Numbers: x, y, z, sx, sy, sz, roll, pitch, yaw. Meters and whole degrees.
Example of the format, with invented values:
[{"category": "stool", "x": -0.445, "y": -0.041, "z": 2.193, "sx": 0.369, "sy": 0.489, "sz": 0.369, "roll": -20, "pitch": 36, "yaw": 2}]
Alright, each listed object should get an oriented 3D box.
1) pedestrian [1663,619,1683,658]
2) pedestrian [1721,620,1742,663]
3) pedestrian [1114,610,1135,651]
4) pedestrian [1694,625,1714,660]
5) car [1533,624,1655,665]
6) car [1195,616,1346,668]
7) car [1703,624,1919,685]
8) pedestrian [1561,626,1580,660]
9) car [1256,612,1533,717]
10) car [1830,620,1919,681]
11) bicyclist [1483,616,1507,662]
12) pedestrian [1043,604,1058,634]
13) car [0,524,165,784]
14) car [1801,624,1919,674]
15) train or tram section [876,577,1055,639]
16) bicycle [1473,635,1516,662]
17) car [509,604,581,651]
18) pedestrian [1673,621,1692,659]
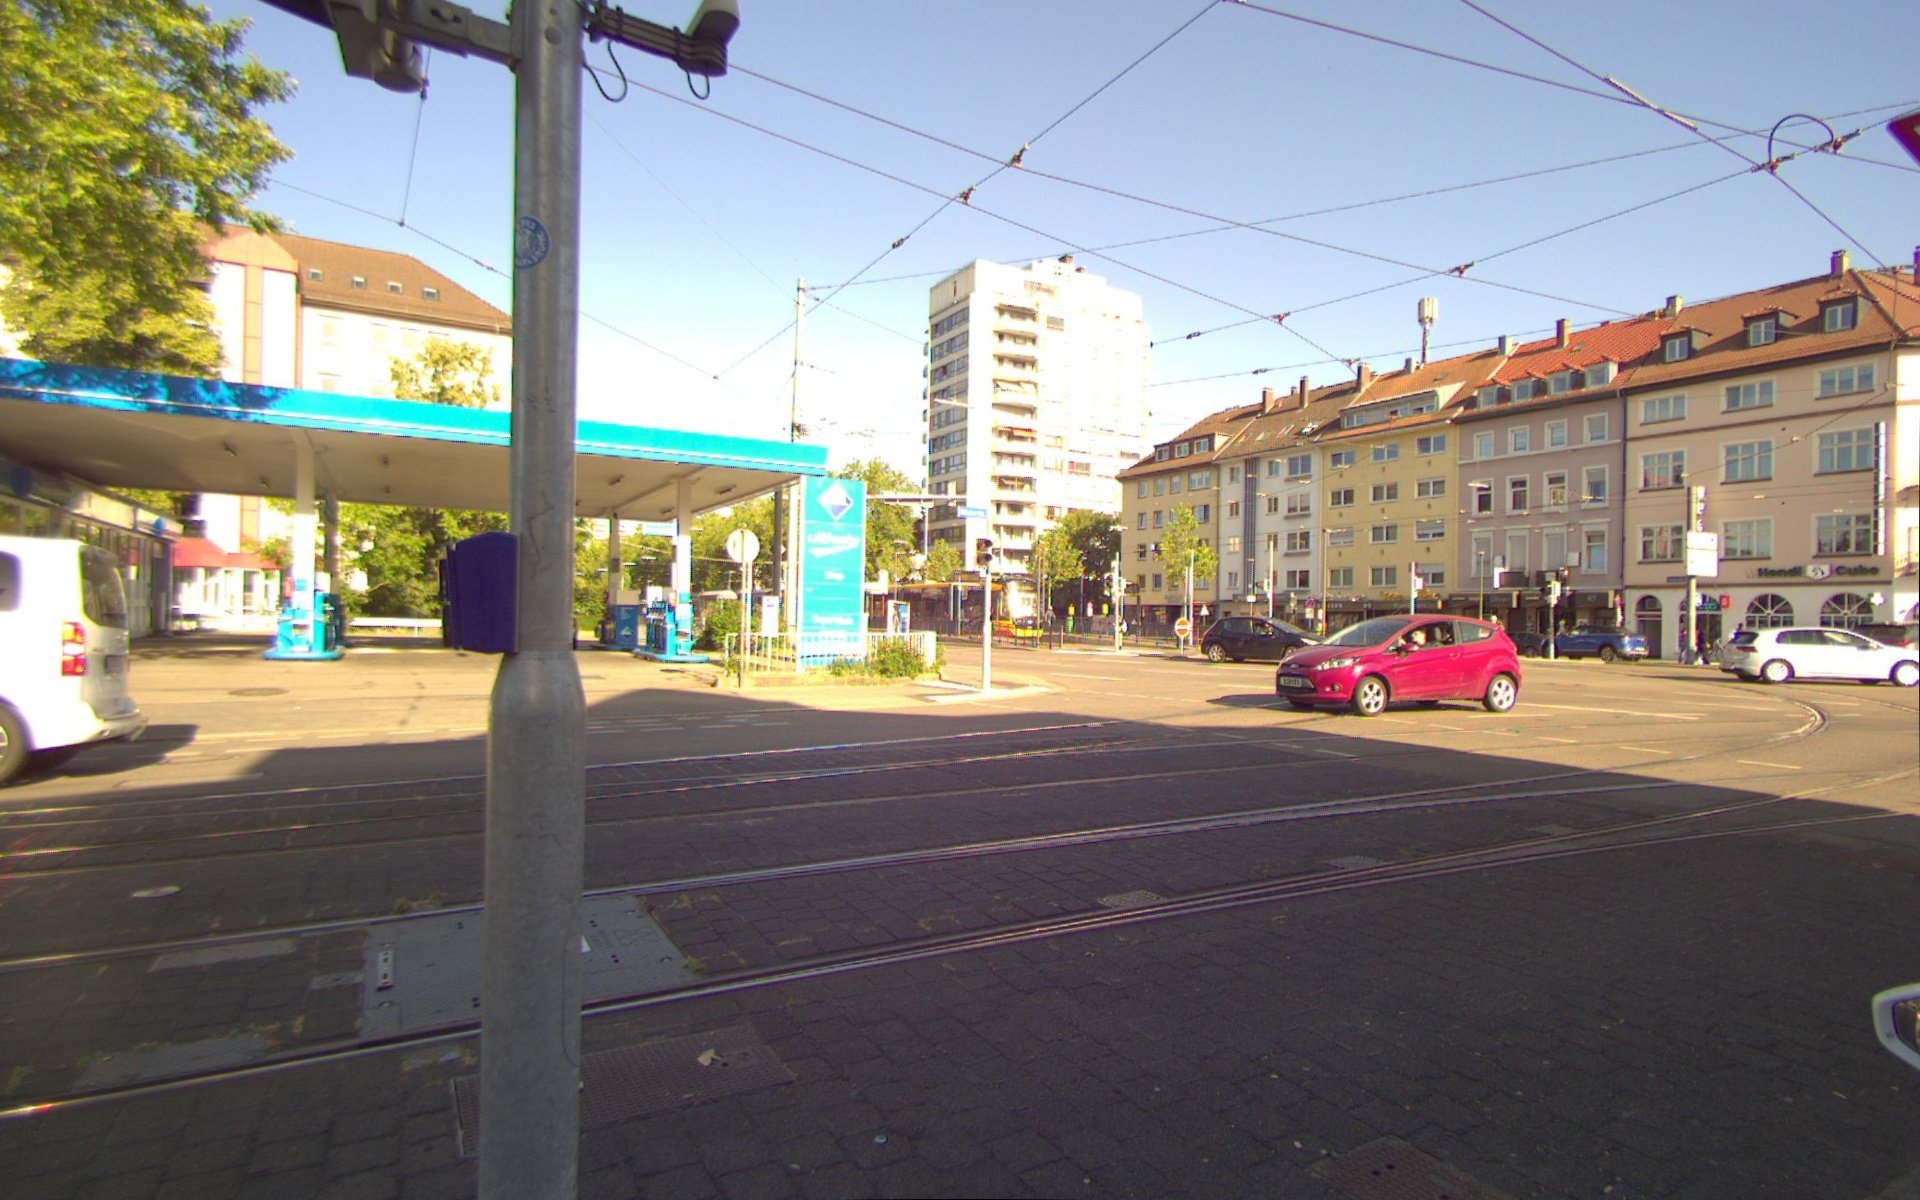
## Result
[{"category": "pedestrian", "x": 30.814, "y": 1.670, "z": 43.394, "sx": 0.492, "sy": 1.670, "sz": 0.520, "roll": 2, "pitch": 0, "yaw": -30}, {"category": "pedestrian", "x": 33.365, "y": 1.786, "z": 43.462, "sx": 0.670, "sy": 1.847, "sz": 0.523, "roll": 2, "pitch": 0, "yaw": -37}, {"category": "pedestrian", "x": 6.721, "y": 1.228, "z": 41.001, "sx": 0.750, "sy": 1.631, "sz": 0.613, "roll": 2, "pitch": 0, "yaw": 15}, {"category": "pedestrian", "x": 32.596, "y": 1.872, "z": 44.018, "sx": 0.550, "sy": 1.512, "sz": 0.489, "roll": 2, "pitch": 0, "yaw": -30}, {"category": "car", "x": 27.250, "y": 1.890, "z": 43.289, "sx": 1.805, "sy": 1.596, "sz": 4.175, "roll": 1, "pitch": 0, "yaw": -23}, {"category": "car", "x": 9.795, "y": 1.269, "z": 31.837, "sx": 4.150, "sy": 1.537, "sz": 1.989, "roll": -1, "pitch": -1, "yaw": 43}, {"category": "car", "x": 21.586, "y": 1.341, "z": 25.402, "sx": 4.145, "sy": 1.408, "sz": 1.735, "roll": 0, "pitch": -1, "yaw": 20}, {"category": "pedestrian", "x": 31.021, "y": 2.193, "z": 51.016, "sx": 0.609, "sy": 1.670, "sz": 0.581, "roll": 2, "pitch": 0, "yaw": -30}, {"category": "car", "x": 6.652, "y": 0.936, "z": 15.421, "sx": 3.820, "sy": 1.445, "sz": 1.589, "roll": 1, "pitch": 0, "yaw": -18}, {"category": "car", "x": 27.221, "y": 1.412, "z": 28.470, "sx": 4.383, "sy": 1.623, "sz": 1.867, "roll": 1, "pitch": -1, "yaw": -18}, {"category": "bicyclist", "x": 21.878, "y": 1.589, "z": 41.082, "sx": 0.606, "sy": 1.814, "sz": 0.619, "roll": 2, "pitch": 0, "yaw": -25}, {"category": "pedestrian", "x": 6.646, "y": 1.387, "z": 73.844, "sx": 0.729, "sy": 2.127, "sz": 0.880, "roll": 2, "pitch": 0, "yaw": -21}, {"category": "car", "x": -9.100, "y": 0.402, "z": 7.111, "sx": 5.157, "sy": 1.878, "sz": 1.984, "roll": 1, "pitch": -4, "yaw": -31}, {"category": "car", "x": 31.134, "y": 1.628, "z": 34.442, "sx": 1.754, "sy": 1.524, "sz": 3.922, "roll": 0, "pitch": 0, "yaw": 9}, {"category": "train or tram section", "x": -0.267, "y": 0.336, "z": 59.721, "sx": 2.821, "sy": 3.179, "sz": 16.611, "roll": 2, "pitch": 0, "yaw": -29}, {"category": "bicycle", "x": 21.848, "y": 1.987, "z": 41.073, "sx": 1.731, "sy": 1.044, "sz": 0.619, "roll": 2, "pitch": 0, "yaw": -25}, {"category": "car", "x": -13.519, "y": 0.857, "z": 32.646, "sx": 1.659, "sy": 1.372, "sz": 3.559, "roll": 2, "pitch": 0, "yaw": -31}, {"category": "pedestrian", "x": 32.422, "y": 1.794, "z": 45.076, "sx": 0.492, "sy": 1.670, "sz": 0.520, "roll": 2, "pitch": 0, "yaw": -30}]
